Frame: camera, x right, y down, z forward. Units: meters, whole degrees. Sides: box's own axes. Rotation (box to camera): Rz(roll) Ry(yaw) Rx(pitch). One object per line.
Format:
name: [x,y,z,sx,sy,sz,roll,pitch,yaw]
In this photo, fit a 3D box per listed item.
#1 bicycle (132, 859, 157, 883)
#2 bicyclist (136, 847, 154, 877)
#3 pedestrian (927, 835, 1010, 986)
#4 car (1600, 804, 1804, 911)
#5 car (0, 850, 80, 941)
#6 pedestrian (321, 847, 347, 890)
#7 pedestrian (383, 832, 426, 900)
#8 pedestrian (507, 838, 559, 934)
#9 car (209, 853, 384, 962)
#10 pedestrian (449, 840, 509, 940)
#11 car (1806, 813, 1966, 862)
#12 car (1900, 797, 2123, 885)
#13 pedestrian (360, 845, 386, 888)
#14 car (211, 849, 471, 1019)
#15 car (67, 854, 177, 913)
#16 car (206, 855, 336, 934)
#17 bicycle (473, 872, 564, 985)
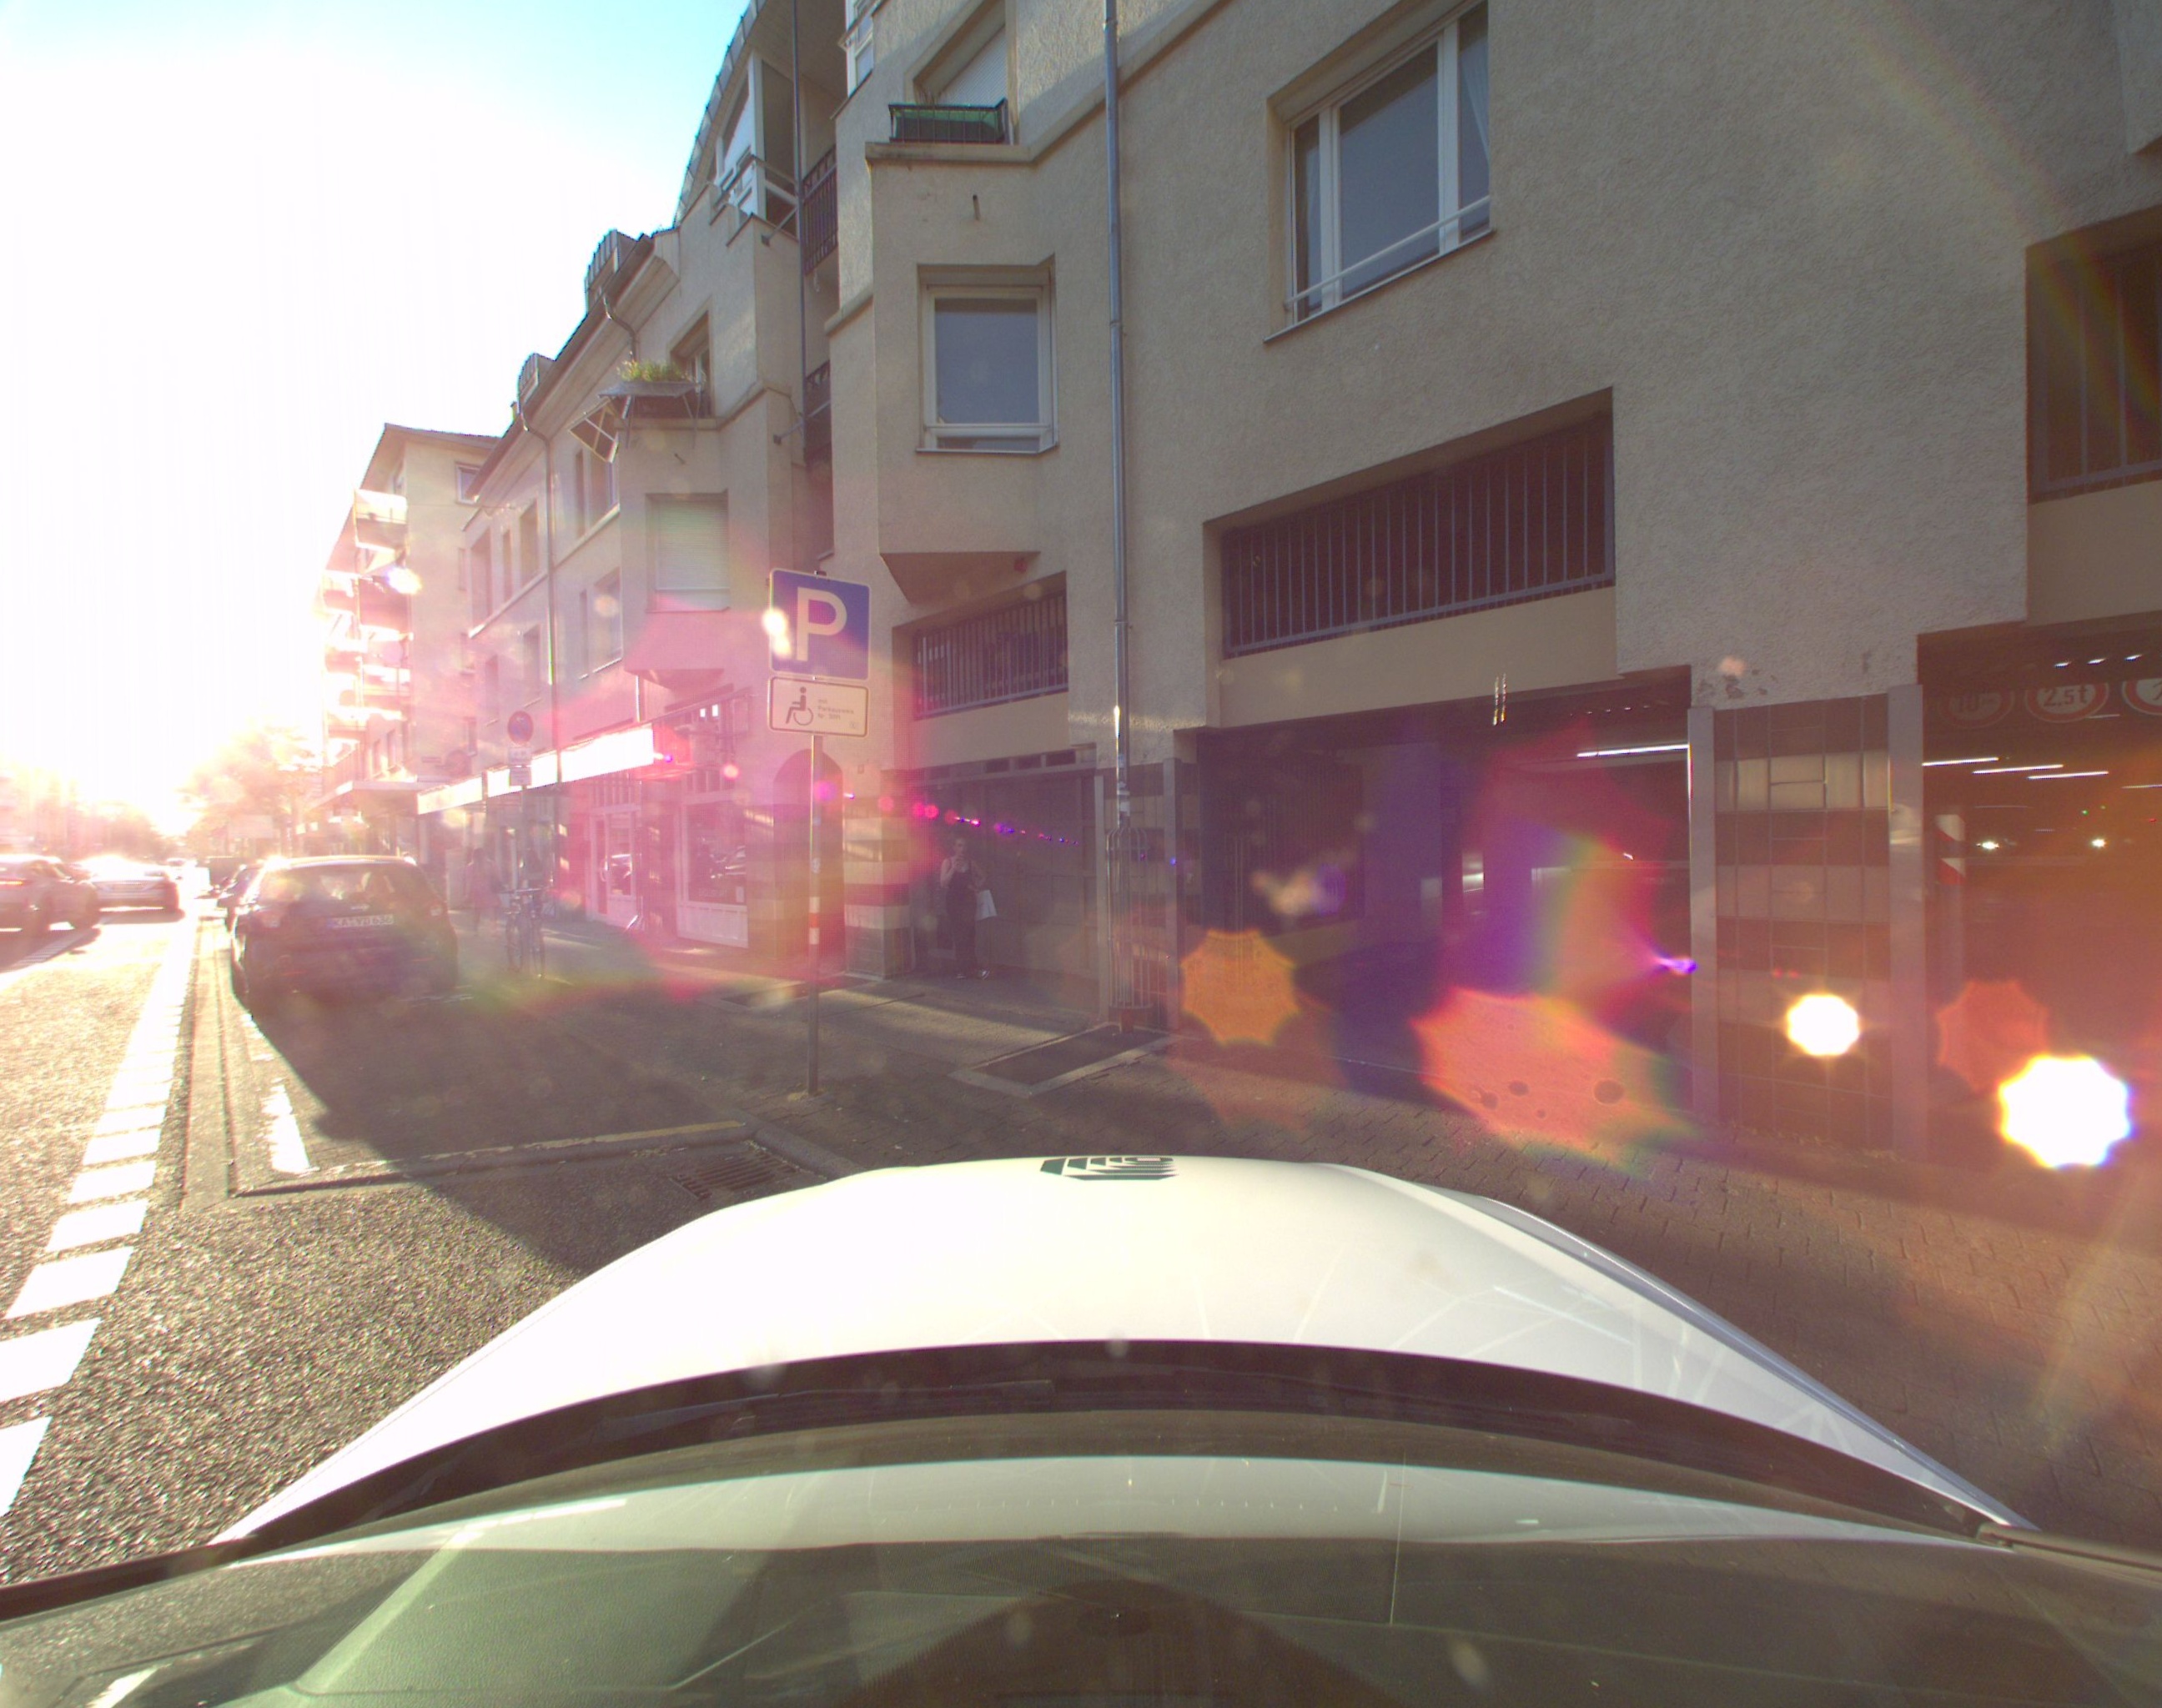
bicycle: [-51.048,0.907,44.406,0.669,1.243,2.104,1,-1,-44]
bicyclist: [-50.921,0.419,44.309,0.552,1.580,0.793,-2,1,-44]
pedestrian: [-1.239,0.585,8.922,0.778,1.572,0.530,-1,1,-20]
car: [10.834,-0.022,14.100,4.272,1.572,1.798,-3,1,-39]
car: [-22.085,0.776,16.465,1.890,1.697,4.268,0,0,-45]
pedestrian: [-31.987,0.606,34.858,0.658,1.791,0.725,0,2,44]
pedestrian: [-17.622,0.297,21.207,0.728,1.733,0.725,0,2,43]
pedestrian: [-10.069,0.574,14.955,0.821,1.700,0.565,-1,1,42]
car: [-13.531,0.795,13.982,3.739,1.580,1.806,0,1,41]
pedestrian: [-10.801,0.622,14.612,1.027,1.700,0.636,-1,1,42]
car: [25.629,-0.554,26.123,1.595,1.391,3.889,-2,2,7]
car: [19.605,-0.295,17.435,1.867,1.624,4.327,-1,1,30]
pedestrian: [-30.398,0.536,34.946,0.658,1.791,0.725,0,2,44]
car: [-8.908,0.761,9.694,3.916,1.580,1.806,0,1,41]
car: [-28.863,0.820,24.626,4.349,1.604,2.012,0,0,42]
car: [-18.518,0.834,18.570,3.739,1.580,1.806,0,1,41]
bicycle: [-6.953,0.856,10.026,0.563,1.206,1.953,-2,1,-45]
